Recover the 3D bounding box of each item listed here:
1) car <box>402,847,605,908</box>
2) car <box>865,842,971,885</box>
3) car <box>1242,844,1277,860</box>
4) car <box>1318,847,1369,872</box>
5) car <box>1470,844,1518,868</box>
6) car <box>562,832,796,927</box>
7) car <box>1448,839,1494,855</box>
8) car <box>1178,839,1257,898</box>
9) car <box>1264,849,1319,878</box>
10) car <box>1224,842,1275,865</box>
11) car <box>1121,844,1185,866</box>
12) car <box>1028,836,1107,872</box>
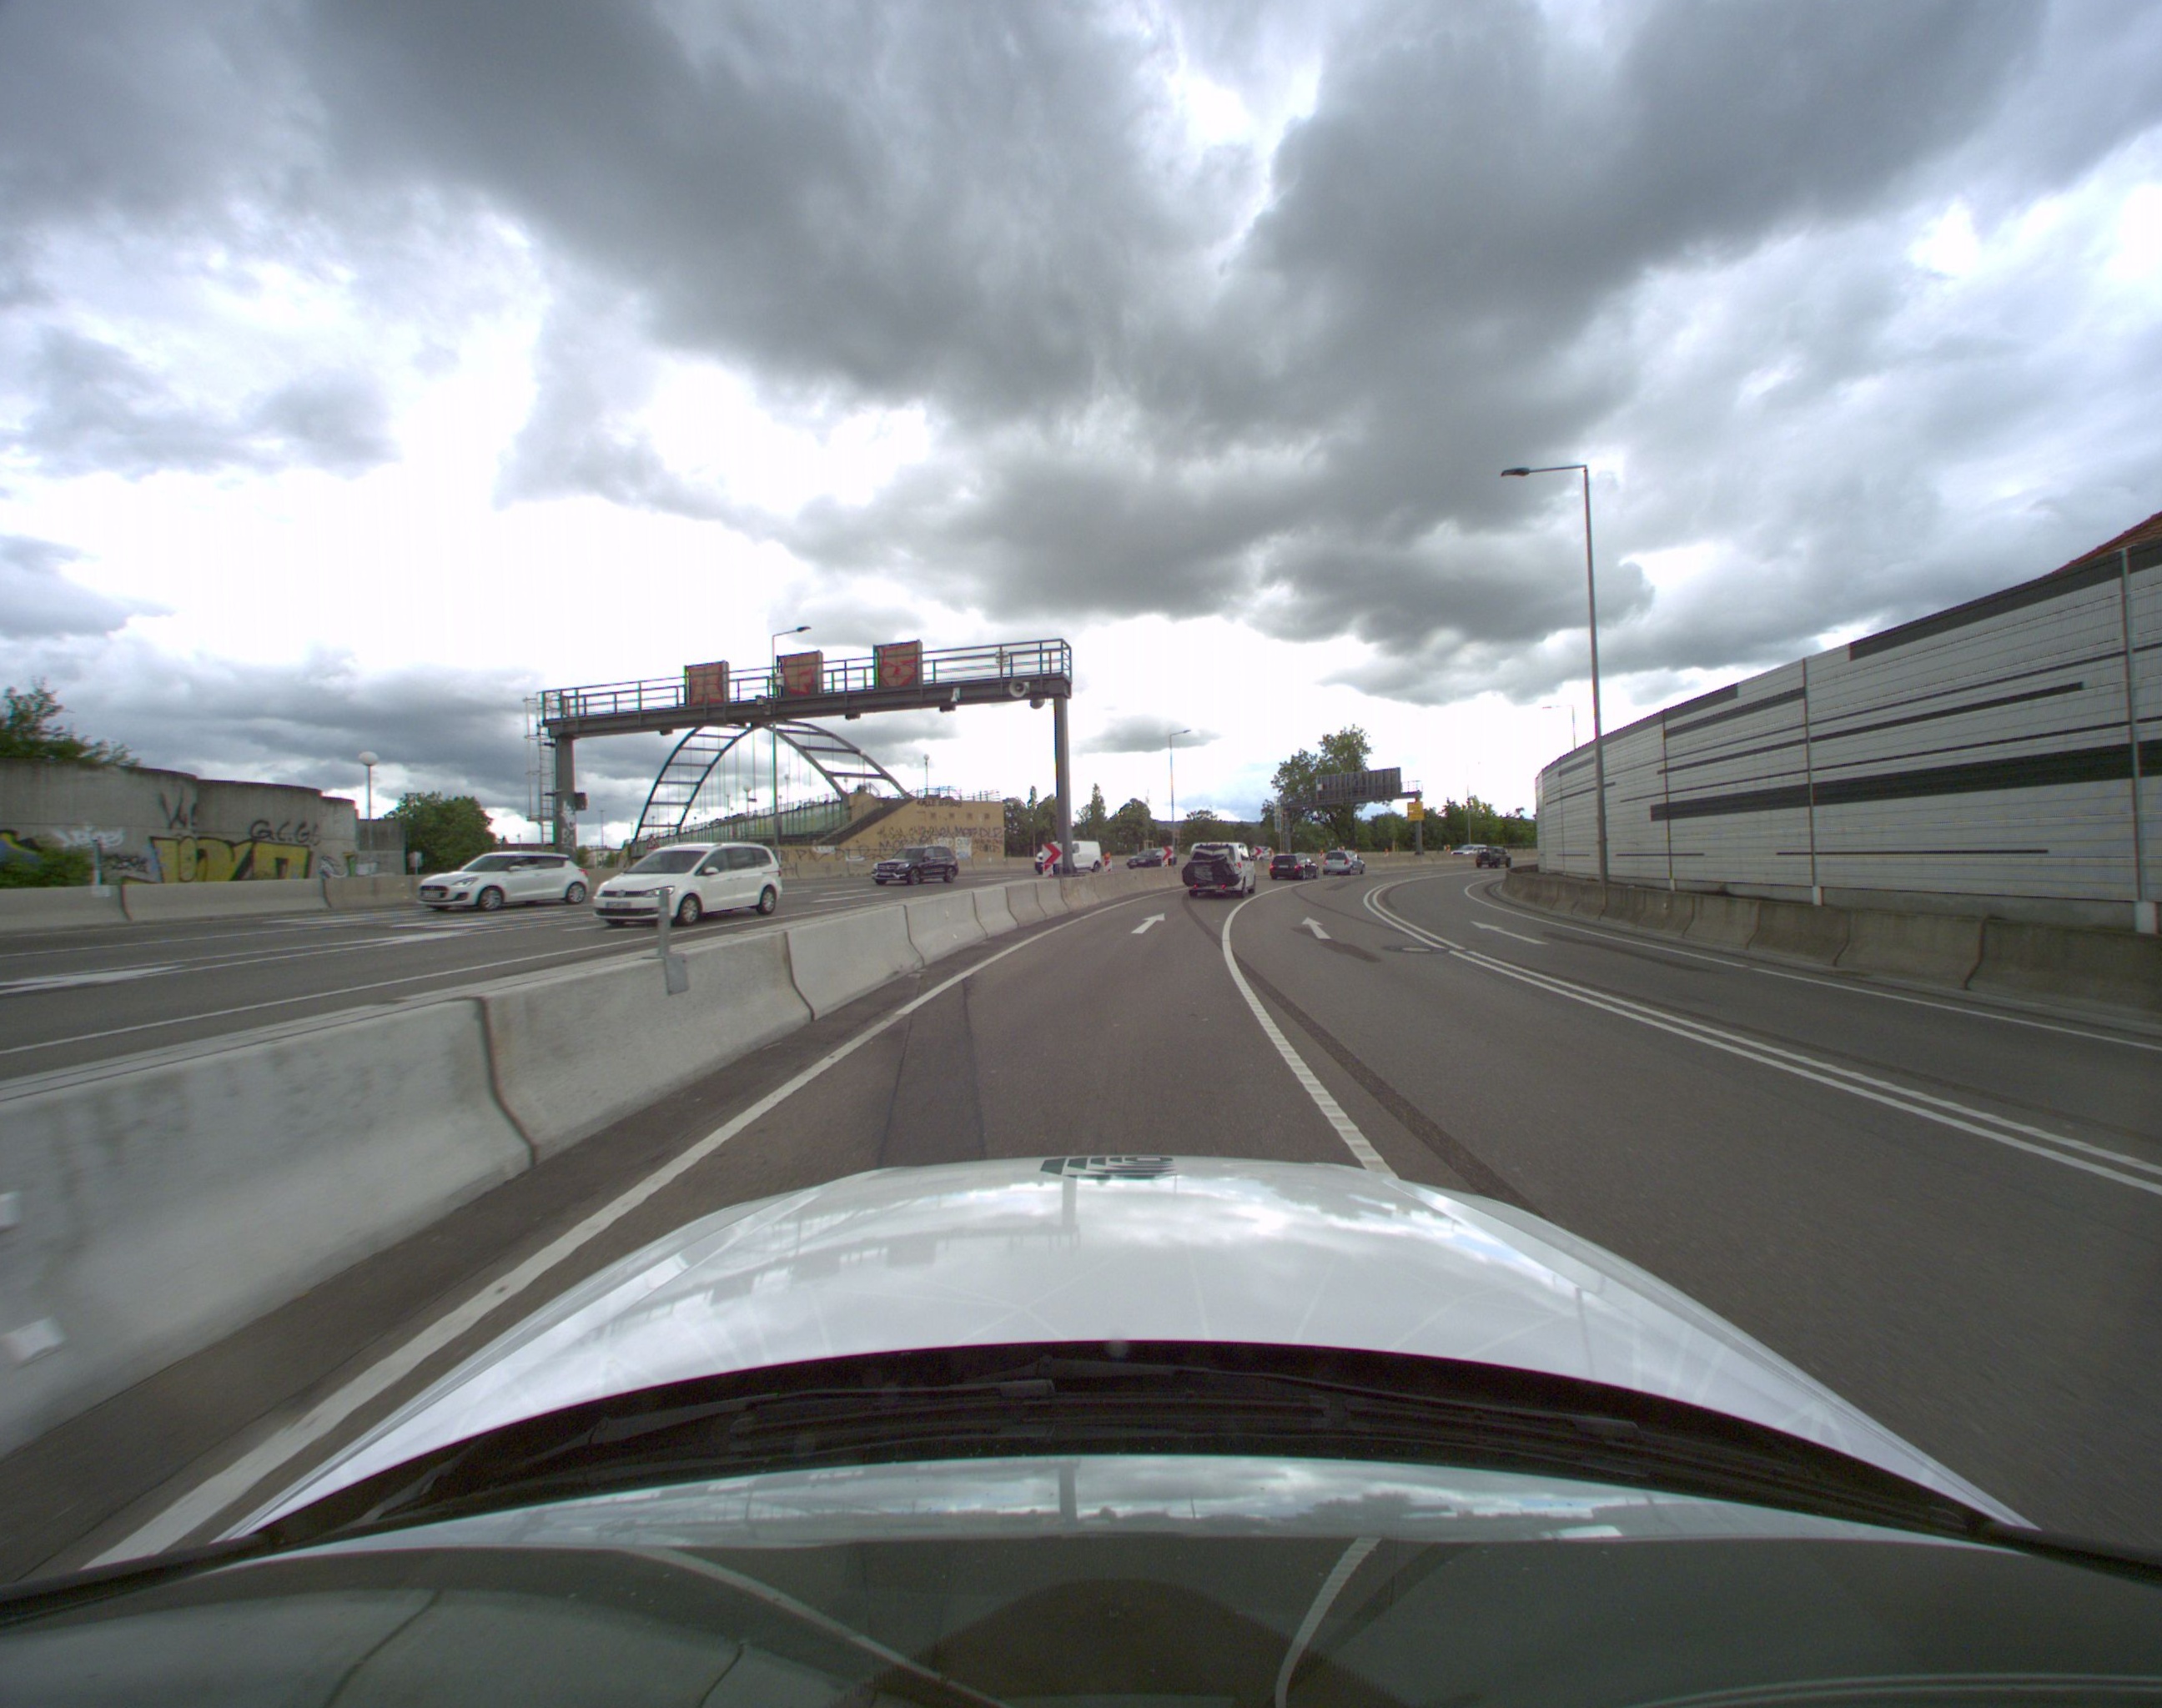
[{"bbox_3d":[-14.983,0.573,21.447,1.747,1.434,4.162,-1,0,16],"label":"car"},{"bbox_3d":[-6.890,0.353,35.069,1.976,1.695,4.955,0,0,24],"label":"car"},{"bbox_3d":[16.094,-0.186,73.230,2.956,1.475,1.611,0,0,-40],"label":"car"},{"bbox_3d":[16.725,0.333,51.764,1.902,1.488,4.091,-1,0,35],"label":"car"},{"bbox_3d":[33.004,0.193,65.041,4.020,1.860,1.977,0,-1,-40],"label":"car"},{"bbox_3d":[-8.535,0.496,17.996,1.939,1.750,5.286,-1,0,8],"label":"car"},{"bbox_3d":[39.287,-0.759,81.968,5.166,1.552,2.081,-1,1,-37],"label":"car"},{"bbox_3d":[4.881,0.438,28.451,1.977,1.859,5.666,0,0,17],"label":"car"},{"bbox_3d":[11.451,0.508,44.154,1.797,1.434,4.091,-2,-1,30],"label":"car"},{"bbox_3d":[13.067,-0.067,63.109,1.975,1.686,4.285,0,0,43],"label":"car"},{"bbox_3d":[5.007,0.063,56.182,1.975,1.488,4.616,0,0,43],"label":"car"},{"bbox_3d":[-0.724,-0.013,47.657,2.216,1.951,5.137,-1,0,31],"label":"car"}]
